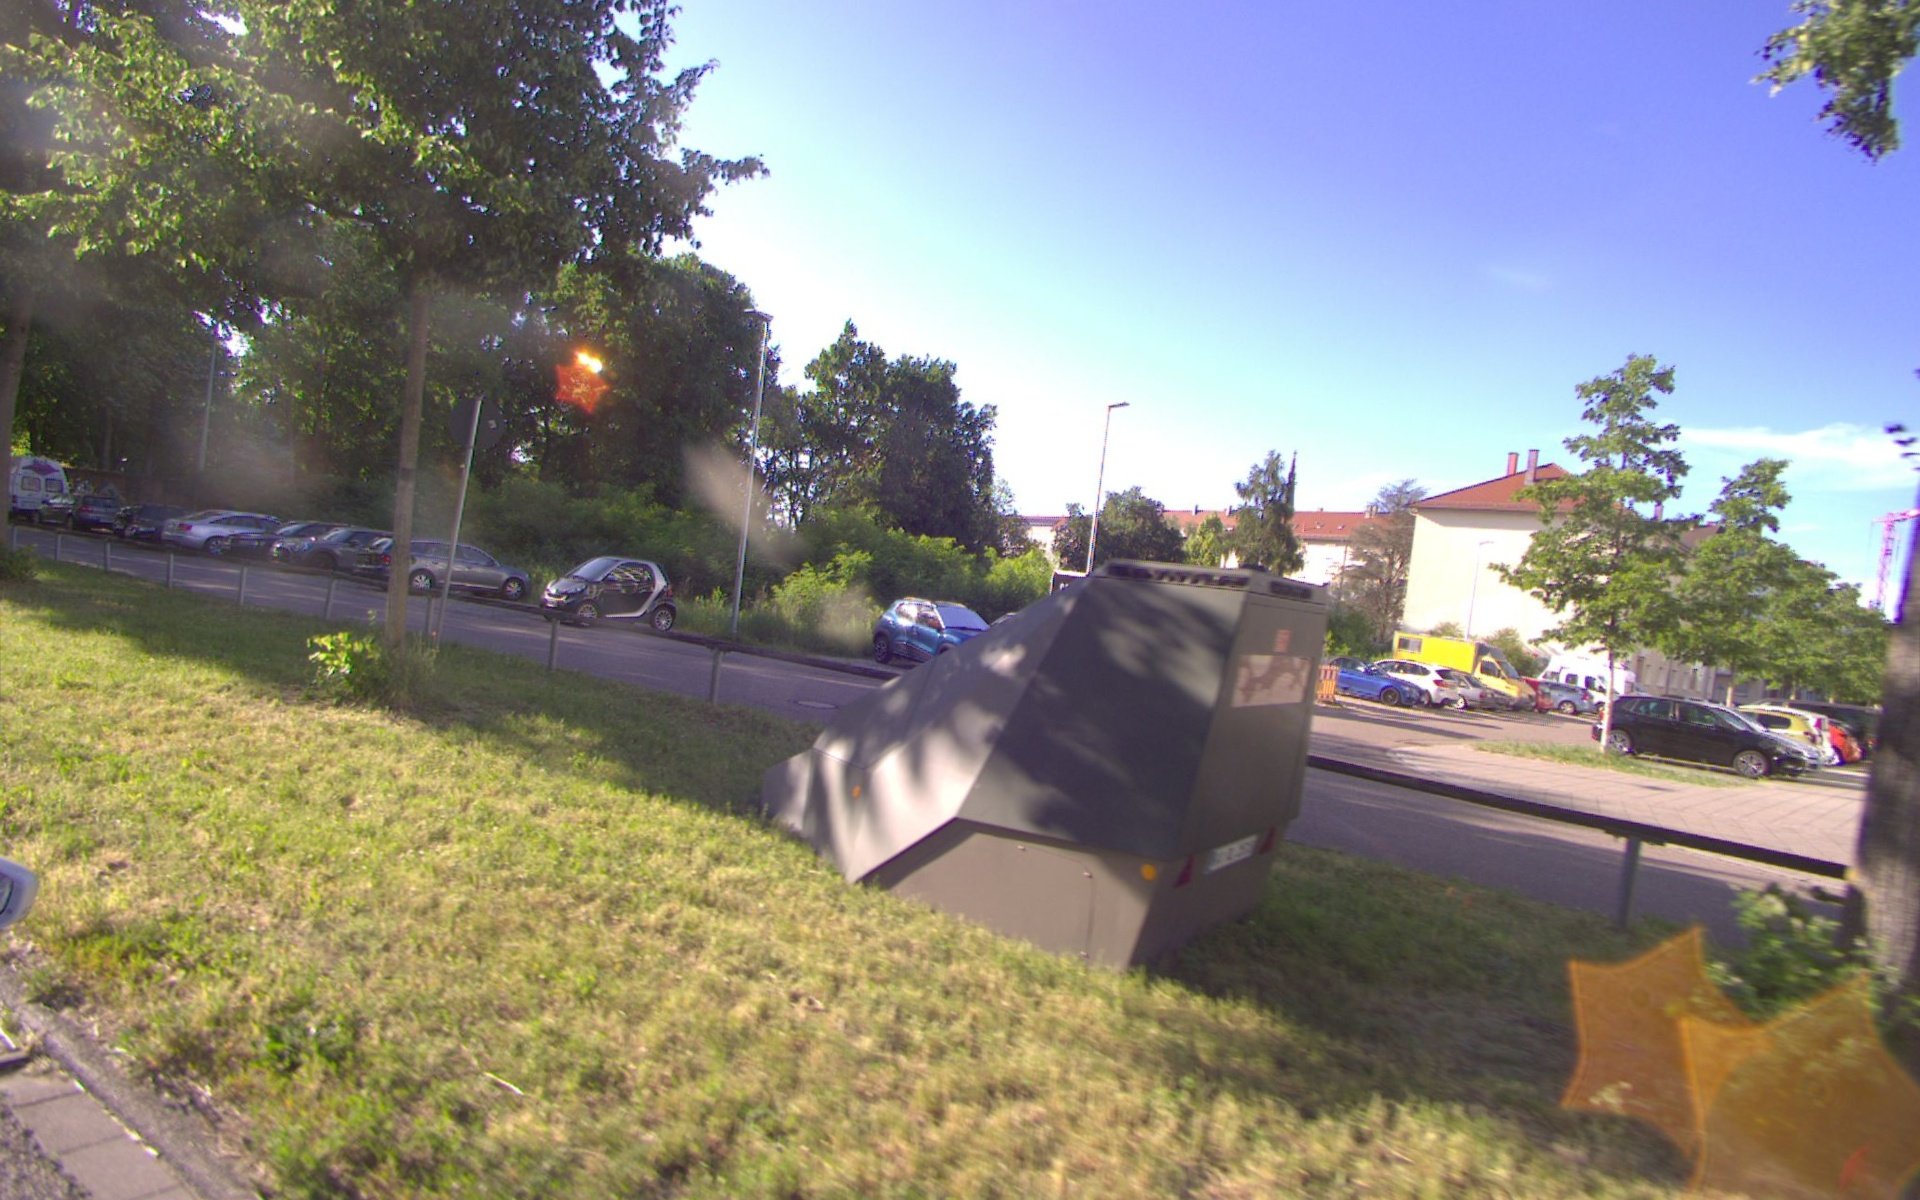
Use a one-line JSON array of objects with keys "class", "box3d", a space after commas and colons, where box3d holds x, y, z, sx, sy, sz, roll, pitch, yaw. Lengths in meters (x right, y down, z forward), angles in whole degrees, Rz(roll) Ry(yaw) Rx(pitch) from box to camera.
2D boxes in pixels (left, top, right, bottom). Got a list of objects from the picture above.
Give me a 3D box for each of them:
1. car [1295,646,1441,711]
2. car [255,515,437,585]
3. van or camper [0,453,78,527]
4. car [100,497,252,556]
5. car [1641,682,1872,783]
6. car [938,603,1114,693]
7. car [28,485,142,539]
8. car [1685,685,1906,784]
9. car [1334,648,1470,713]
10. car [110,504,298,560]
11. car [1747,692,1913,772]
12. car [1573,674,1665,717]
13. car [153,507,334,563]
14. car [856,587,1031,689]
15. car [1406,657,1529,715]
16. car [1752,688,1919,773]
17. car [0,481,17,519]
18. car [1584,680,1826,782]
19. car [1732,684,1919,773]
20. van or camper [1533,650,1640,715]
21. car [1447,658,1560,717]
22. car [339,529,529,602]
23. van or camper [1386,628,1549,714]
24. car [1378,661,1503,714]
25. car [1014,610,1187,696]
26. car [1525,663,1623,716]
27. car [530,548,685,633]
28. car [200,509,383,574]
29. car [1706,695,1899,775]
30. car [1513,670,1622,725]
[{"class": "car", "box3d": [14.211, 2.724, 35.186, 1.821, 1.492, 4.220, 8, 1, -42]}, {"class": "car", "box3d": [-18.036, -1.428, 29.750, 1.752, 1.517, 4.197, 7, 0, 29]}, {"class": "van or camper", "box3d": [-39.509, -4.692, 42.336, 4.879, 2.768, 1.994, 7, 3, 29]}, {"class": "car", "box3d": [-28.956, -2.677, 37.275, 1.734, 1.523, 3.997, 7, 0, 26]}, {"class": "car", "box3d": [18.947, 3.122, 24.032, 1.988, 1.703, 3.953, 9, -2, -42]}, {"class": "car", "box3d": [1.436, 1.070, 23.139, 1.740, 1.553, 3.839, 9, -2, -39]}, {"class": "car", "box3d": [-34.552, -3.481, 39.725, 3.931, 1.592, 1.999, 7, -2, 28]}, {"class": "car", "box3d": [21.064, 3.360, 25.471, 1.988, 1.792, 3.953, 9, -2, -42]}, {"class": "car", "box3d": [16.239, 2.942, 37.062, 1.988, 1.637, 3.951, 9, 0, -42]}, {"class": "car", "box3d": [-25.614, -2.287, 34.249, 1.967, 1.425, 4.718, 7, 3, 32]}, {"class": "car", "box3d": [29.638, 4.479, 34.359, 1.988, 2.037, 3.953, 9, -2, -42]}, {"class": "car", "box3d": [38.239, 5.519, 58.464, 1.987, 1.836, 3.954, 9, -2, -41]}, {"class": "car", "box3d": [-23.198, -2.071, 32.722, 1.968, 1.430, 4.375, 7, 4, 34]}, {"class": "car", "box3d": [-0.438, 0.754, 21.209, 1.585, 1.566, 3.777, 6, 2, -38]}, {"class": "car", "box3d": [20.714, 3.500, 41.155, 1.988, 1.749, 3.950, 7, 0, -44]}, {"class": "car", "box3d": [28.216, 4.164, 32.318, 1.988, 2.037, 3.953, 9, -2, -42]}, {"class": "car", "box3d": [-44.701, -4.678, 45.232, 3.926, 1.640, 1.842, 7, 4, 21]}, {"class": "car", "box3d": [16.637, 2.908, 22.589, 1.988, 1.592, 3.953, 9, -2, -42]}, {"class": "car", "box3d": [26.206, 3.866, 30.533, 1.988, 2.037, 3.953, 9, -2, -42]}, {"class": "van or camper", "box3d": [35.392, 4.633, 56.889, 1.988, 2.953, 4.510, 8, -2, -42]}, {"class": "car", "box3d": [24.605, 3.940, 45.614, 1.988, 2.037, 3.952, 9, -2, -43]}, {"class": "car", "box3d": [-13.787, -0.876, 26.574, 1.687, 1.487, 4.081, 7, 1, 33]}, {"class": "van or camper", "box3d": [22.044, 3.028, 43.909, 5.775, 2.926, 1.990, 6, -2, 44]}, {"class": "car", "box3d": [18.807, 3.405, 39.460, 1.724, 1.368, 3.951, 9, 0, -42]}, {"class": "car", "box3d": [3.350, 1.257, 24.518, 1.711, 1.558, 3.908, 9, -2, -39]}, {"class": "car", "box3d": [33.079, 4.801, 54.236, 1.988, 2.242, 3.952, 9, -2, -43]}, {"class": "car", "box3d": [-7.725, -0.189, 22.168, 1.441, 1.569, 2.761, 7, 1, 41]}, {"class": "car", "box3d": [-20.778, -1.781, 31.462, 1.874, 1.497, 4.332, 8, 2, 28]}, {"class": "car", "box3d": [24.267, 3.860, 29.074, 1.988, 1.614, 3.953, 9, -2, -42]}, {"class": "car", "box3d": [29.268, 4.684, 48.502, 1.988, 2.037, 3.952, 9, -2, -43]}]
